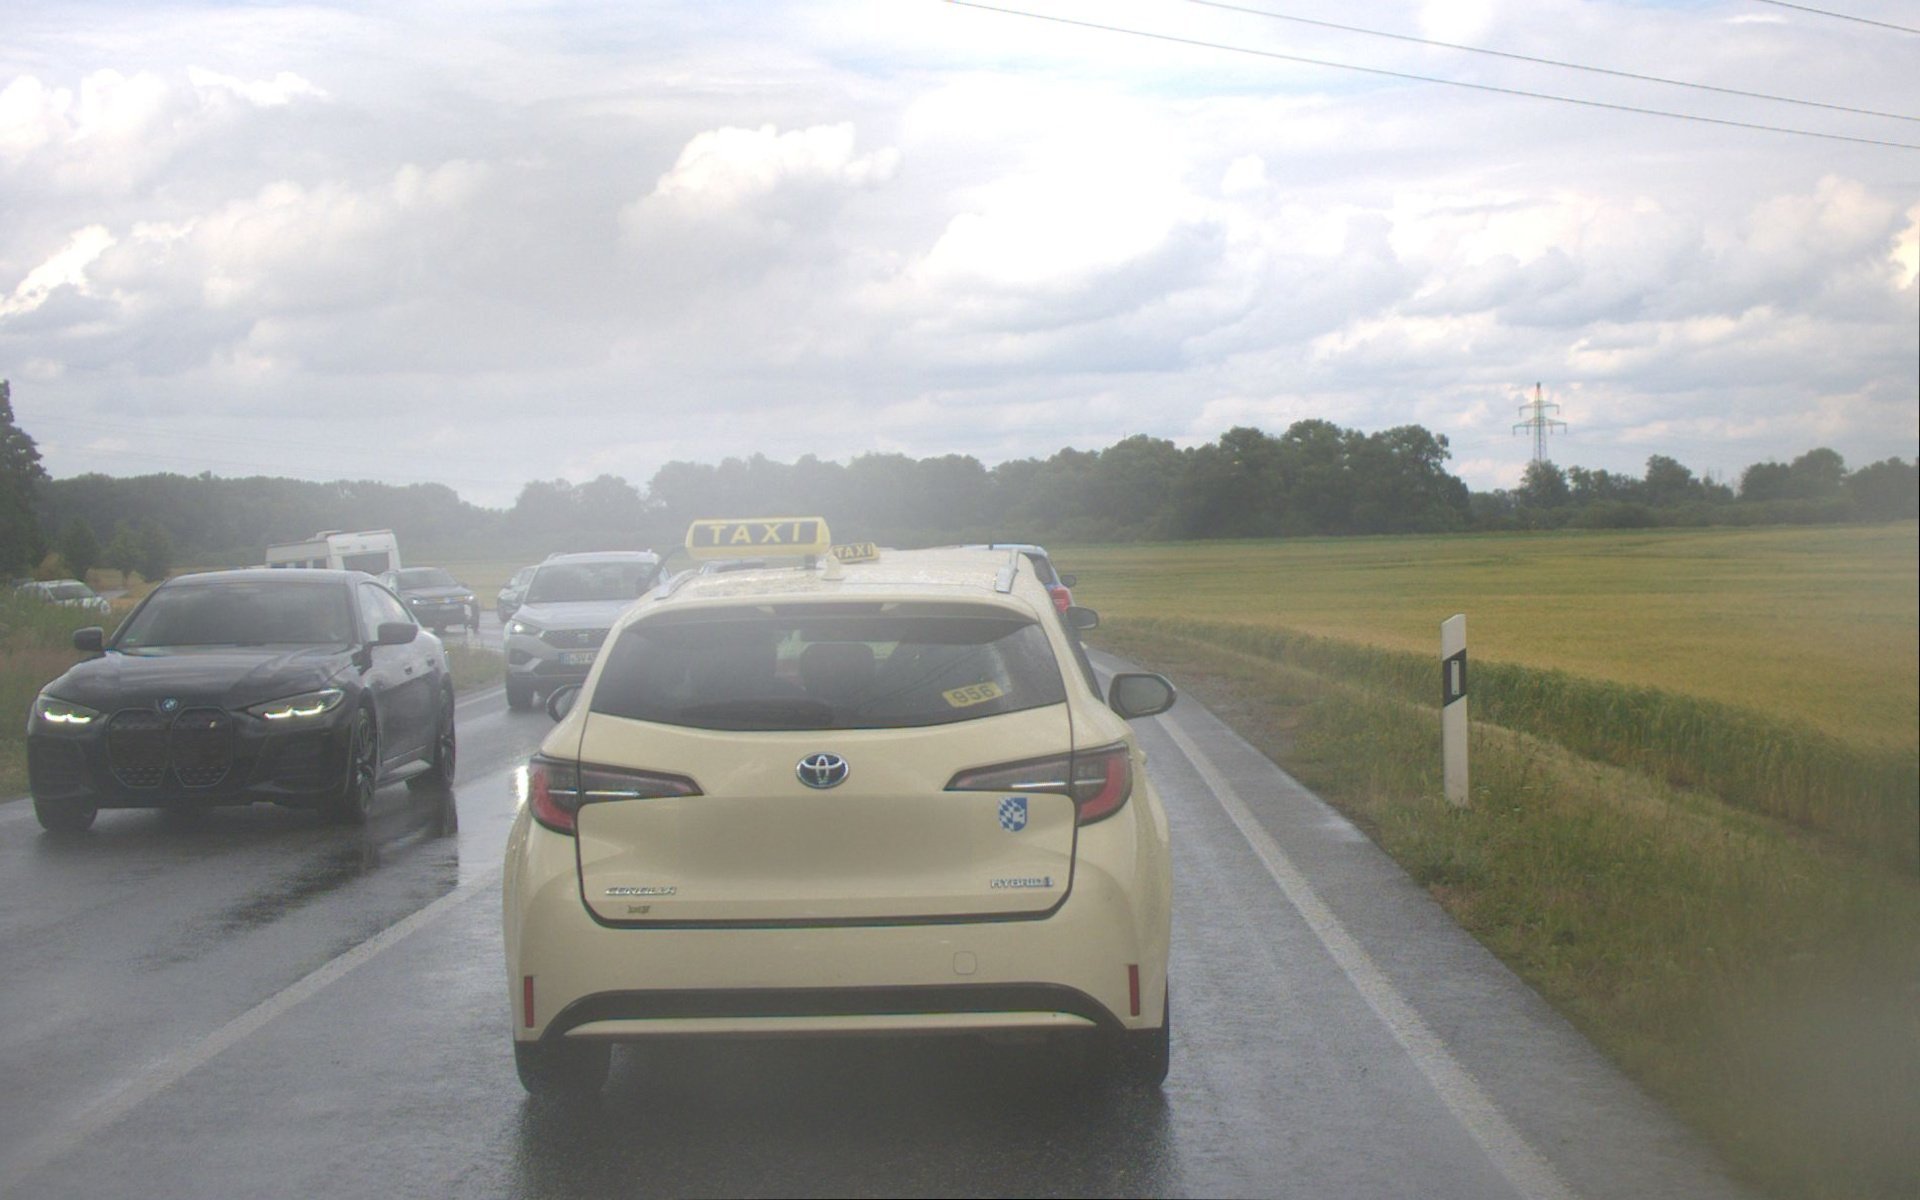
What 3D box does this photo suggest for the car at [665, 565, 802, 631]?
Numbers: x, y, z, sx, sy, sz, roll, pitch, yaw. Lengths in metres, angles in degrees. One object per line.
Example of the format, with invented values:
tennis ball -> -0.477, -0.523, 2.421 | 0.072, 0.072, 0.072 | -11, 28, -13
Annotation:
car -> -5.135, -0.039, 77.428 | 1.959, 1.408, 4.393 | 2, -1, -19

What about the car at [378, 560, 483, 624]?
car -> -13.667, -0.199, 88.569 | 1.757, 1.554, 4.001 | 2, -1, -22

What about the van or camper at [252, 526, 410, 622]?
van or camper -> -19.935, -0.851, 108.652 | 2.536, 2.886, 6.743 | 1, 1, -32

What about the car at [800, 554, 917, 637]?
car -> -1.843, -0.059, 61.619 | 1.612, 1.408, 3.739 | 1, -1, -9

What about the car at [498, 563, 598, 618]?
car -> -11.131, -0.256, 92.754 | 1.783, 1.408, 3.739 | 2, -1, -21

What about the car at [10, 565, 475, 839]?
car -> -4.154, 0.530, 20.553 | 1.849, 1.443, 4.091 | -1, 1, 1

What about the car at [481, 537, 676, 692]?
car -> -4.187, 0.132, 38.252 | 1.909, 1.604, 4.091 | -1, 1, -3

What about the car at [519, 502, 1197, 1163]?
car -> -0.152, 0.580, 10.195 | 1.613, 1.557, 3.738 | 1, -1, 3

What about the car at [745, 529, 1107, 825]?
car -> -0.213, 0.379, 20.106 | 1.841, 1.487, 4.608 | 1, 0, -1

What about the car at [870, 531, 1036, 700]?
car -> -0.029, 0.174, 36.371 | 1.613, 1.653, 3.738 | 1, -1, 2
